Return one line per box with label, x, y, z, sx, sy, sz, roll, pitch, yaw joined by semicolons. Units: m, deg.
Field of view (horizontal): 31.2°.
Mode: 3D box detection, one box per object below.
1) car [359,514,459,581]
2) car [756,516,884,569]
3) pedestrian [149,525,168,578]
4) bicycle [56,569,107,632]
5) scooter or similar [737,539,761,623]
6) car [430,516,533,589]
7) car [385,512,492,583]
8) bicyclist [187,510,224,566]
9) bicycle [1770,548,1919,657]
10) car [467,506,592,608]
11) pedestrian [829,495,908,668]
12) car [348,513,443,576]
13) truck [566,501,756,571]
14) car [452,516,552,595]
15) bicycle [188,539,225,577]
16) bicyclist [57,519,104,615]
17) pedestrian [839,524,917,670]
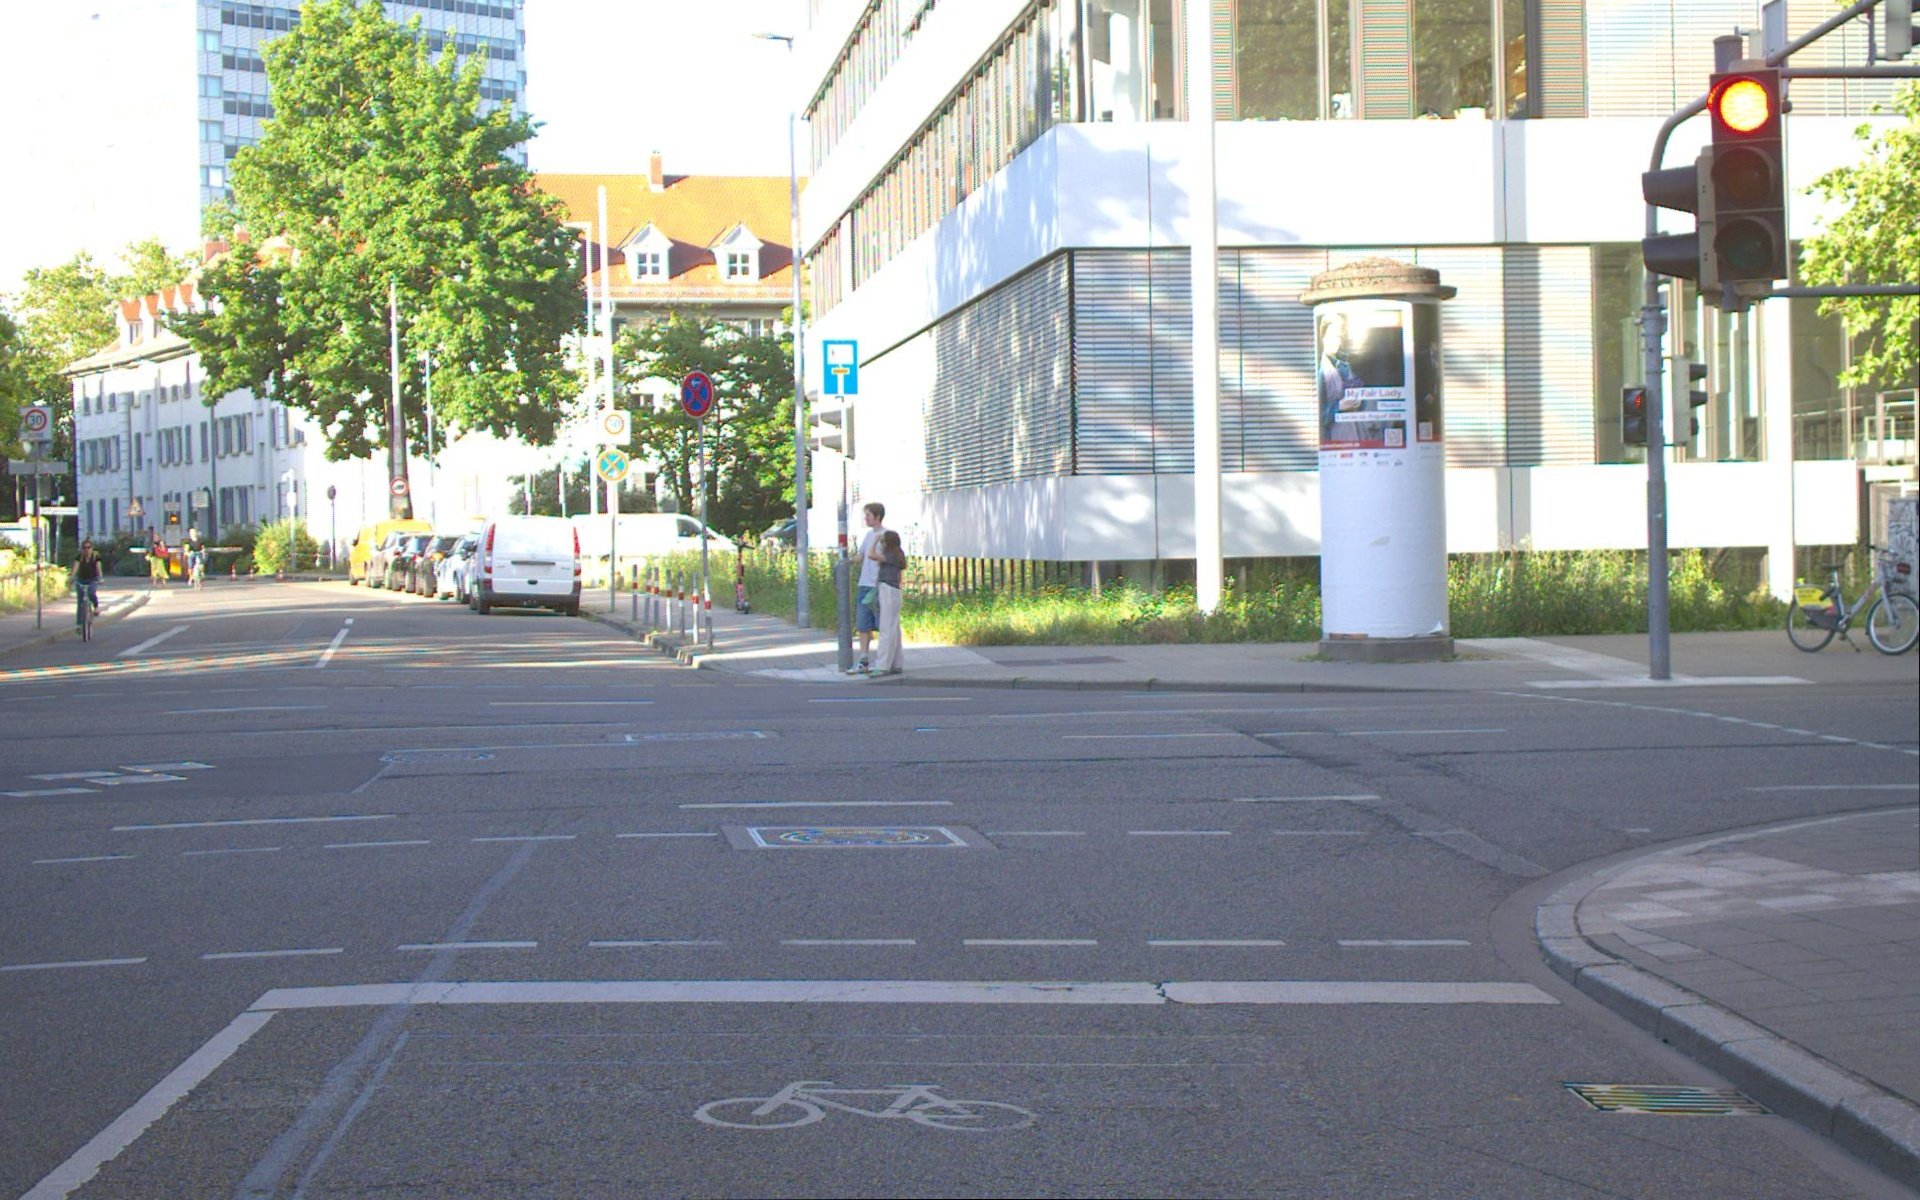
car;-14.563;-1.413;90.698;1.888;1.650;4.417;-1;2;-19
car;-4.252;-1.741;104.230;3.554;1.541;1.559;-1;1;-19
pedestrian;-24.542;-1.485;105.290;0.433;1.602;0.493;-2;1;-26
bicycle;-14.264;-0.007;55.841;0.615;0.966;1.842;-2;1;-9
scooter or similar;-3.590;-0.326;58.563;0.330;1.419;1.335;1;0;-6
car;-10.920;-1.113;78.305;1.888;1.550;4.417;-1;2;-13
car;-13.004;-1.330;85.553;1.888;1.650;4.417;-1;2;-19
bicyclist;-21.097;-1.723;96.129;0.865;1.510;1.019;-4;1;-10
bicycle;9.311;0.012;36.030;0.507;1.045;1.687;-4;5;-35
car;-8.143;-0.839;64.700;2.084;1.789;4.417;-1;2;-10
pedestrian;-1.004;-0.209;37.799;0.560;1.844;0.677;-3;2;16
car;-15.699;-1.572;95.487;1.888;1.650;4.417;-1;2;-19
truck;-8.967;-1.921;103.042;5.336;2.007;2.001;-1;1;-19
car;-9.747;-0.967;72.935;1.888;1.550;4.417;-1;2;-10
bicycle;-21.070;-1.167;96.124;0.865;1.006;2.415;-4;1;-10
bicyclist;-14.276;-0.538;55.843;0.615;1.527;0.903;-2;1;-9
pedestrian;-0.888;-0.038;37.196;0.559;1.535;0.677;-5;2;-18
